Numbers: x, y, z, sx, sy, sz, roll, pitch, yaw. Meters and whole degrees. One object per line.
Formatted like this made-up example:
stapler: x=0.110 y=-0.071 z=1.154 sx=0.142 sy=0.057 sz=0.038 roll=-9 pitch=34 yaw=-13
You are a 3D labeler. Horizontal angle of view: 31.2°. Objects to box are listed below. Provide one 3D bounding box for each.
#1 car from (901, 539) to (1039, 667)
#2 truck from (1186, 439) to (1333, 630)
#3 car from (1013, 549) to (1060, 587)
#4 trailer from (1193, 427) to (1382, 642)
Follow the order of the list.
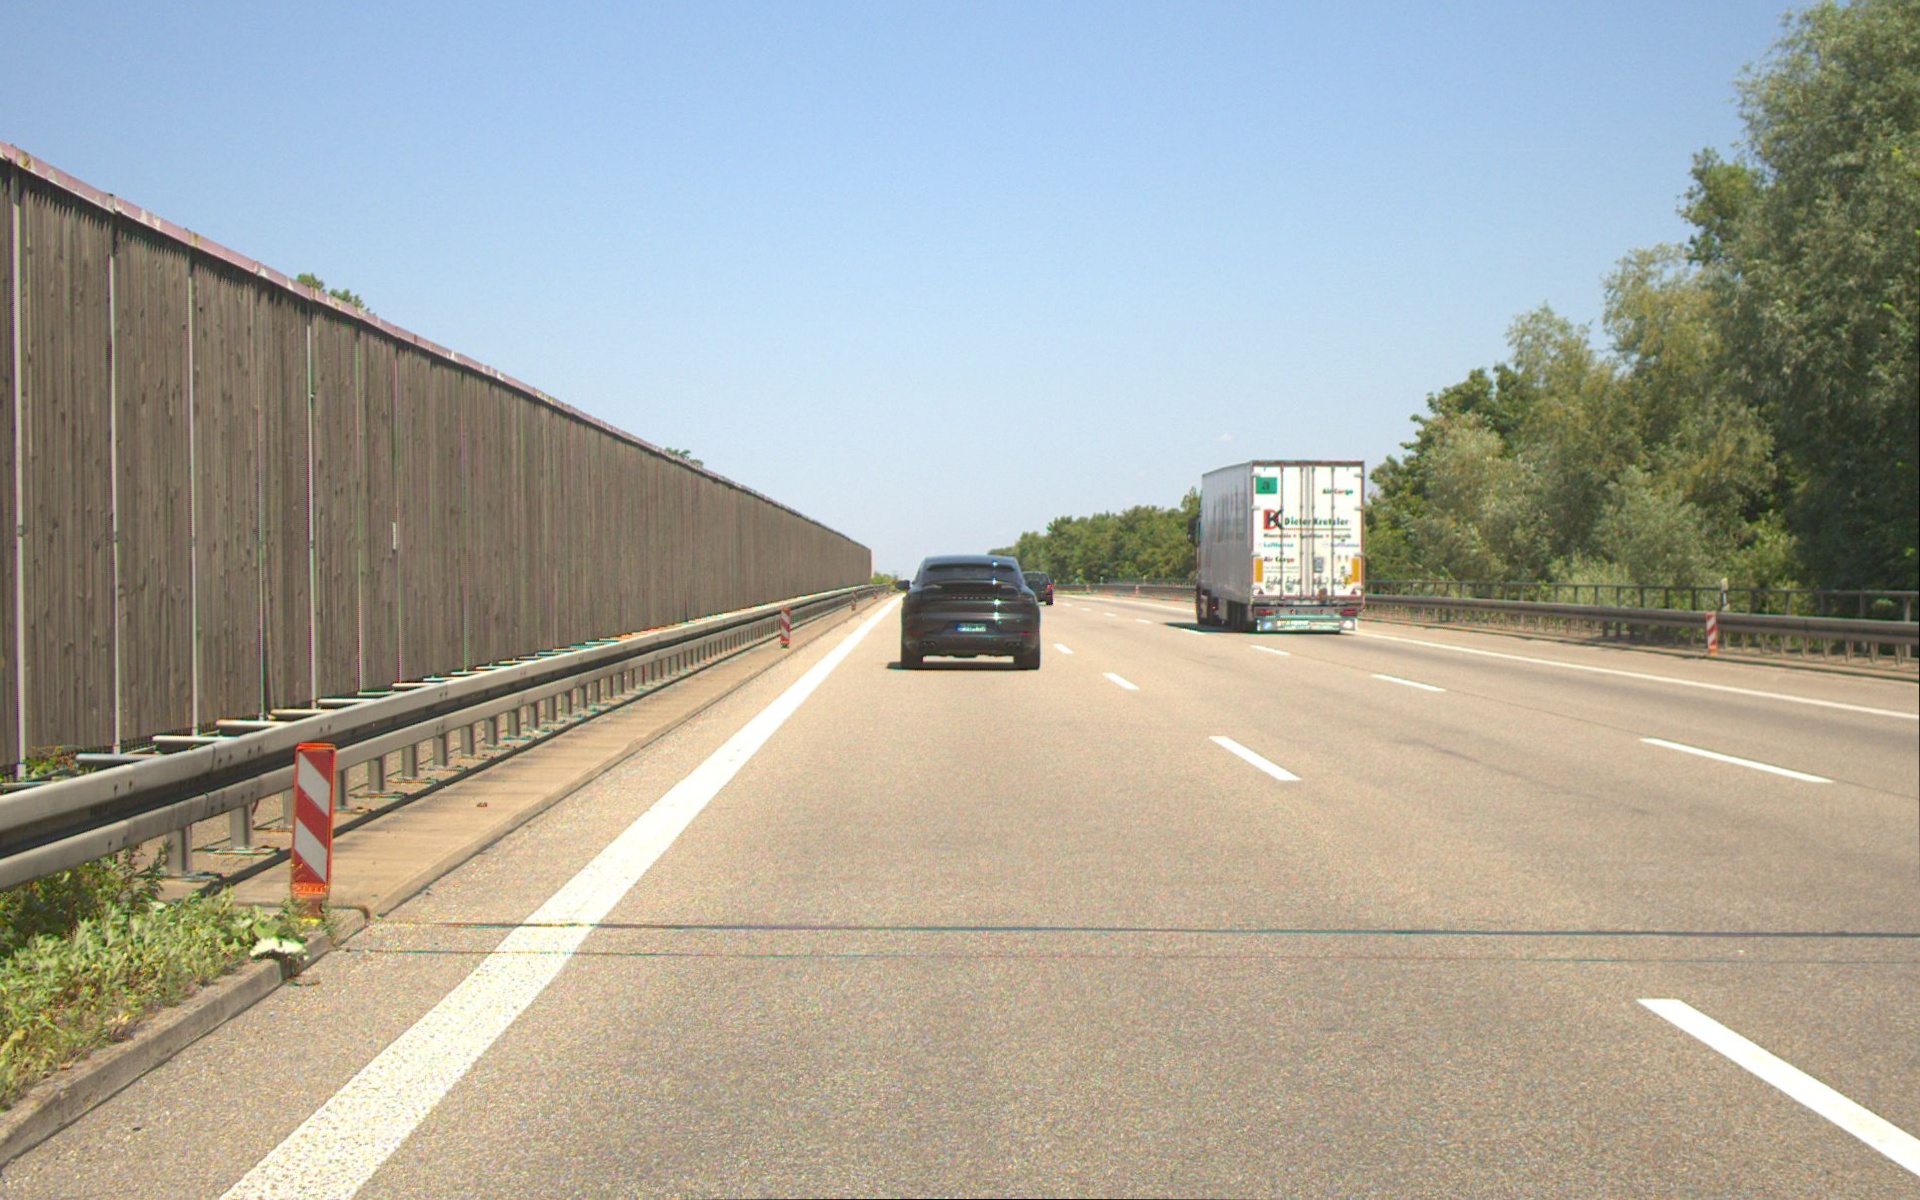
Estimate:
car: x=0.104 y=0.012 z=50.229 sx=1.880 sy=1.786 sz=4.000 roll=0 pitch=1 yaw=-2
truck: x=7.915 y=-1.720 z=91.695 sx=3.234 sy=4.872 sz=6.972 roll=1 pitch=1 yaw=0
car: x=3.306 y=-1.388 z=149.764 sx=1.903 sy=1.578 sz=4.304 roll=-1 pitch=0 yaw=0
trailer: x=7.876 y=-1.560 z=84.714 sx=3.269 sy=4.821 sz=14.029 roll=1 pitch=1 yaw=0
